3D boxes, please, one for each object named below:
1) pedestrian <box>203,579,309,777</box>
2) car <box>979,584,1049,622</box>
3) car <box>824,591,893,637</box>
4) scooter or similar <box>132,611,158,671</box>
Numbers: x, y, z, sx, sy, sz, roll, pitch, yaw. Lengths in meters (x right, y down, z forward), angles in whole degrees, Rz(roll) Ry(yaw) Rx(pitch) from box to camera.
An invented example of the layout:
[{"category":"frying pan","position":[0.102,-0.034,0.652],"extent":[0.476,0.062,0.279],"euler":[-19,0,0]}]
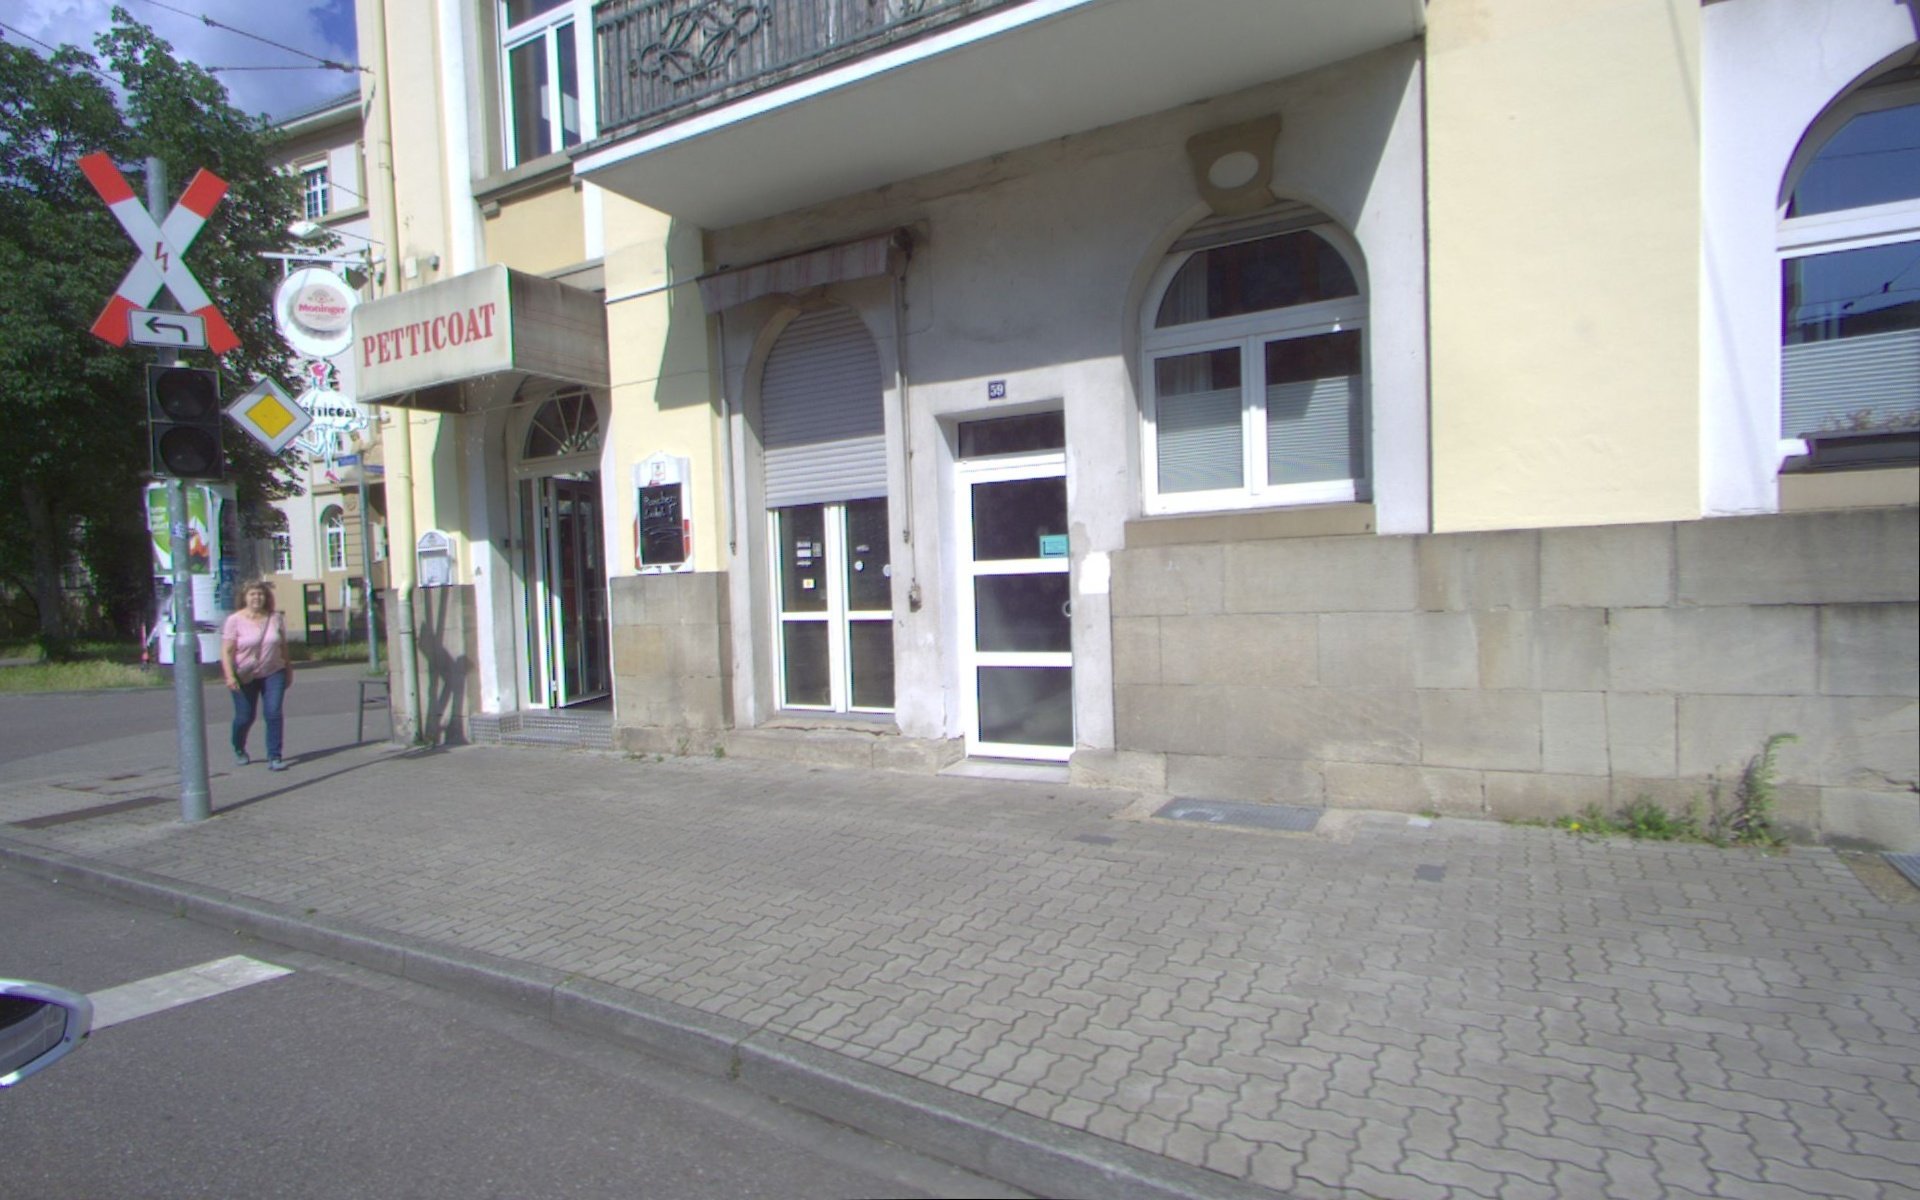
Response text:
[{"category":"pedestrian","position":[-6.330,0.665,8.999],"extent":[0.666,1.670,0.757],"euler":[-4,2,-38]},{"category":"car","position":[2.224,0.124,41.838],"extent":[1.568,1.476,3.254],"euler":[-3,1,-25]},{"category":"car","position":[-3.552,0.459,34.631],"extent":[1.363,1.476,3.254],"euler":[-2,1,-25]},{"category":"scooter or similar","position":[-16.926,0.845,20.788],"extent":[0.303,1.205,1.151],"euler":[-3,2,-43]}]
